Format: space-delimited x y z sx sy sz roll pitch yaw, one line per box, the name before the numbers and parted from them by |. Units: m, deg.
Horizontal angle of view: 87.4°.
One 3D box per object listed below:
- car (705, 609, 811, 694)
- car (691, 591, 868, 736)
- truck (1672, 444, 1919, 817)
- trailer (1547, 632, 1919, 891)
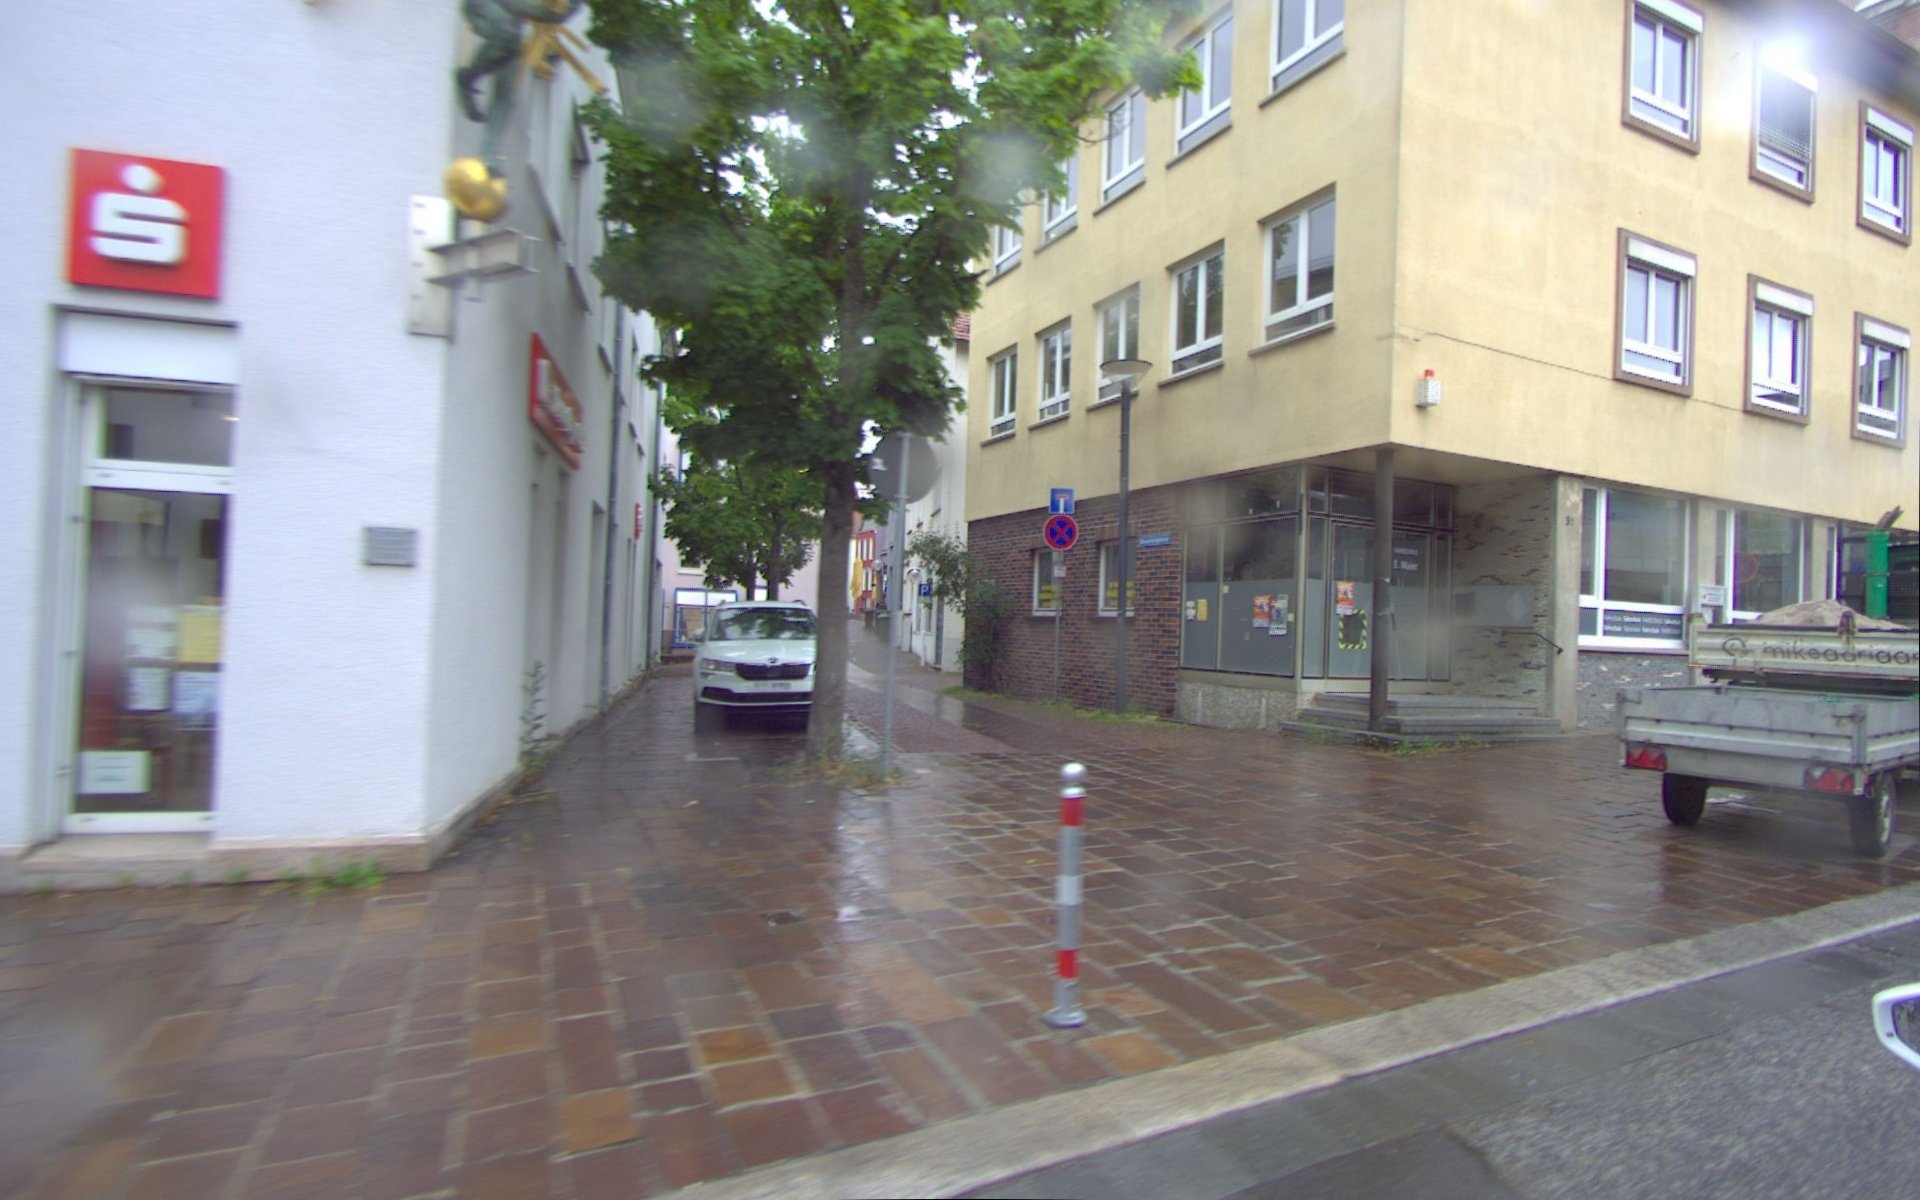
car | -4.307 1.032 20.990 1.899 1.587 3.988 2 -2 -15
car | -2.515 0.766 13.175 1.933 1.585 3.988 1 -2 -15
truck | 9.818 0.268 9.783 6.527 2.832 2.460 1 -1 -33
trailer | 5.827 0.934 7.064 3.126 1.364 1.718 1 -1 -33
